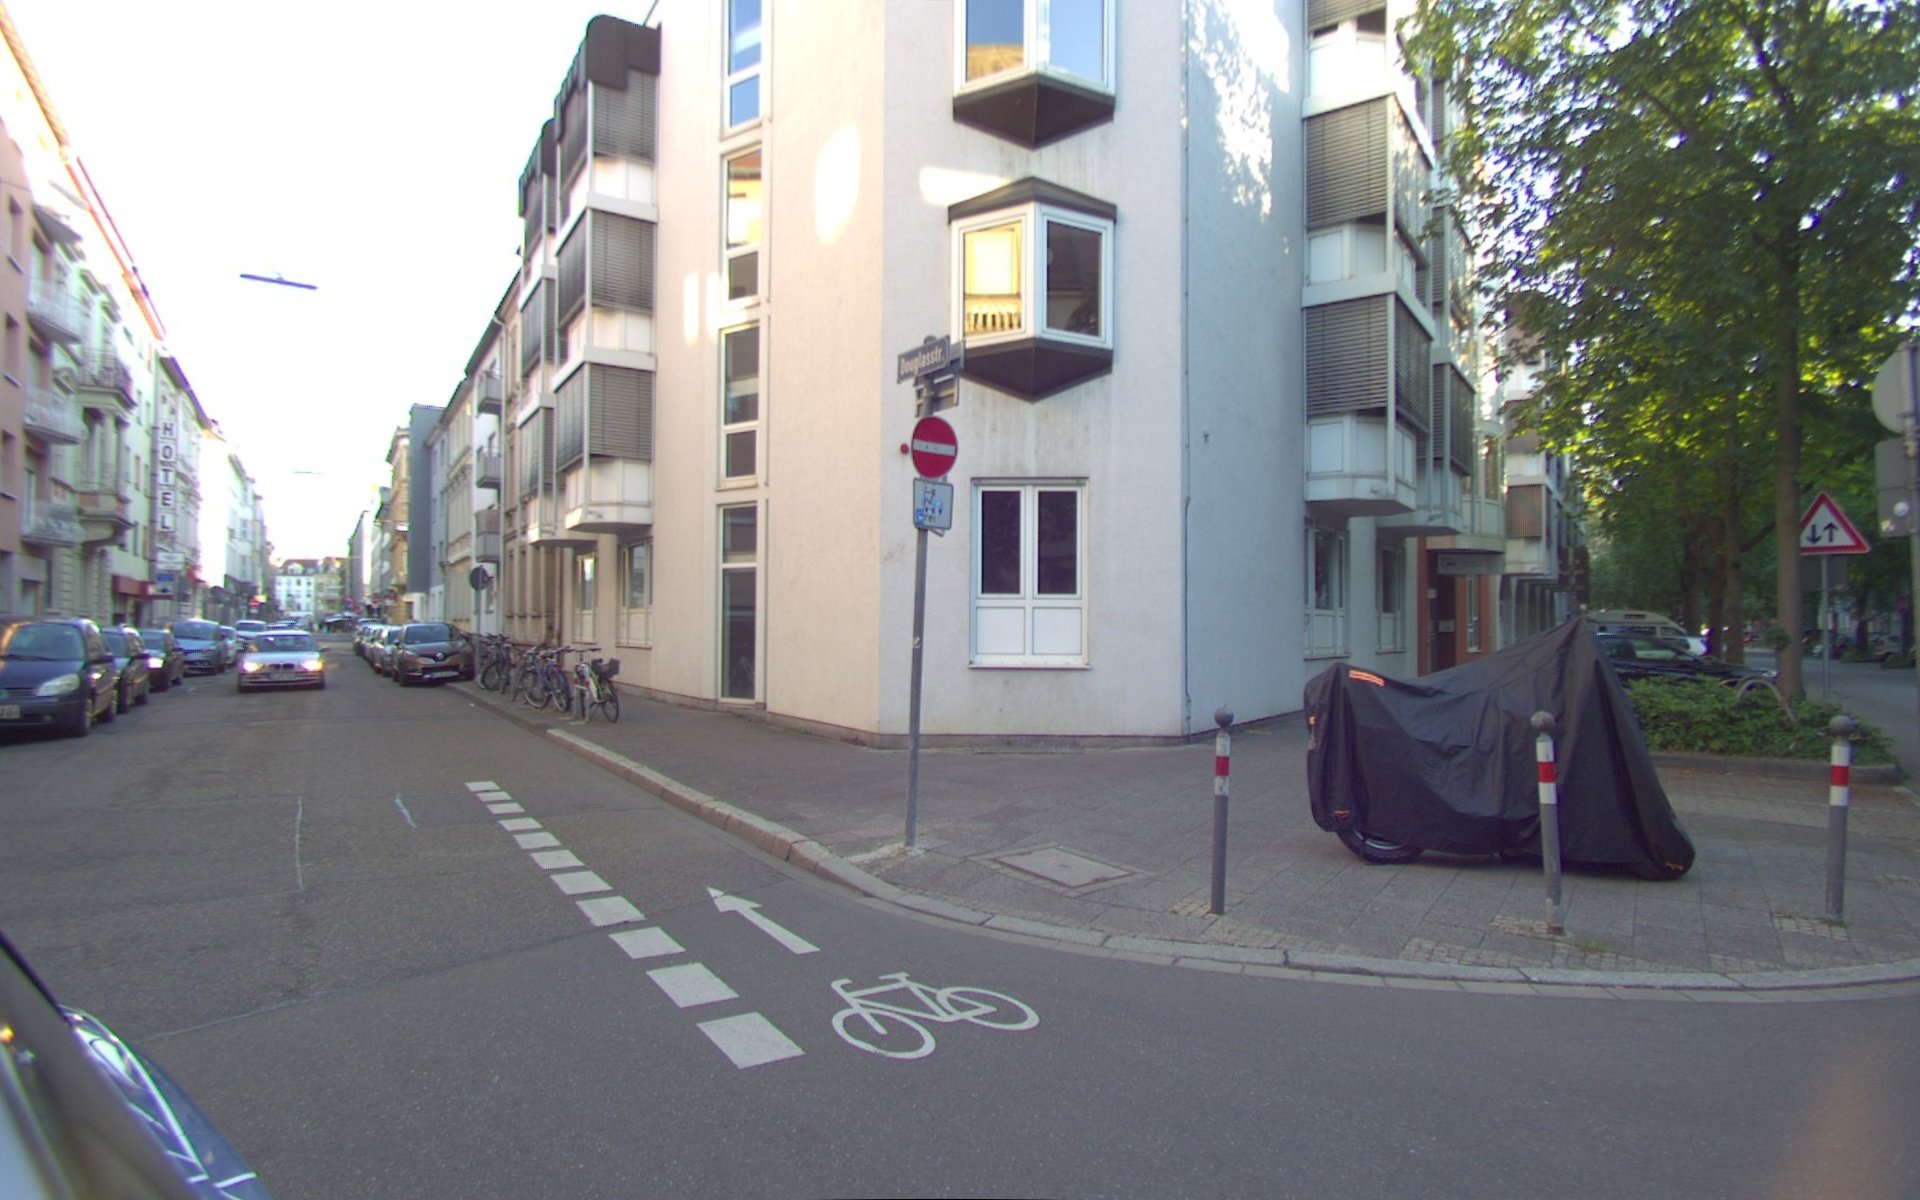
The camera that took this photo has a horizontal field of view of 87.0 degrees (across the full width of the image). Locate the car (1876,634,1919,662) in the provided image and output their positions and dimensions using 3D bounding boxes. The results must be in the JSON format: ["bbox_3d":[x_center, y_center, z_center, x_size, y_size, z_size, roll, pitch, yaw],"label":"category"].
[{"bbox_3d":[49.540,2.452,51.824,3.659,1.403,1.548,-1,-2,34],"label":"car"}]

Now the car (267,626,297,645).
[{"bbox_3d":[-52.155,2.719,77.916,1.701,1.409,3.903,0,-2,-31],"label":"car"}]

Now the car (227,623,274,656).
[{"bbox_3d":[-40.964,2.287,58.540,1.812,1.708,4.371,6,-5,-31],"label":"car"}]

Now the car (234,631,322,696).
[{"bbox_3d":[-16.716,1.486,24.959,1.654,1.414,4.484,-1,-1,-32],"label":"car"}]

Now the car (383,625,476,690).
[{"bbox_3d":[-14.258,1.478,27.101,1.766,1.588,4.081,1,-2,-34],"label":"car"}]

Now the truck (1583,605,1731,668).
[{"bbox_3d":[29.072,1.474,42.323,5.007,2.459,1.892,0,0,37],"label":"truck"}]

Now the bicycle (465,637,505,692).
[{"bbox_3d":[-10.960,1.454,23.329,0.587,1.196,2.272,0,-2,-32],"label":"bicycle"}]

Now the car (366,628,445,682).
[{"bbox_3d":[-17.559,1.680,31.971,1.766,1.551,4.445,1,-2,-34],"label":"car"}]

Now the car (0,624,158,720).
[{"bbox_3d":[-15.864,1.208,18.329,1.666,1.525,4.295,0,-2,-33],"label":"car"}]

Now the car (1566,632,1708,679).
[{"bbox_3d":[23.957,1.933,35.914,4.137,1.483,1.620,0,-1,36],"label":"car"}]

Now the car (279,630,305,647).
[{"bbox_3d":[-56.322,3.215,85.396,1.701,1.409,3.903,0,-2,-31],"label":"car"}]

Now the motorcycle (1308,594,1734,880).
[{"bbox_3d":[3.289,0.765,6.177,2.142,1.567,0.666,0,-2,16],"label":"motorcycle"}]

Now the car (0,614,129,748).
[{"bbox_3d":[-12.943,1.043,13.999,1.666,1.637,4.066,0,-2,-31],"label":"car"}]

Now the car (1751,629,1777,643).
[{"bbox_3d":[89.583,3.998,112.837,1.995,1.564,3.953,-1,-2,35],"label":"car"}]

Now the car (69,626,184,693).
[{"bbox_3d":[-20.138,1.391,24.608,1.666,1.469,4.143,0,-2,-33],"label":"car"}]

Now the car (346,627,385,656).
[{"bbox_3d":[-33.369,2.303,56.738,1.616,1.592,3.793,1,-2,-34],"label":"car"}]

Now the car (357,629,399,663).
[{"bbox_3d":[-26.972,2.091,46.833,1.615,1.500,3.965,0,-2,-31],"label":"car"}]

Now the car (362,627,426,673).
[{"bbox_3d":[-20.486,1.767,36.554,1.766,1.551,4.506,0,-2,-33],"label":"car"}]

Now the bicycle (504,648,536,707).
[{"bbox_3d":[-8.363,1.447,19.210,0.302,1.050,1.818,0,-2,-32],"label":"bicycle"}]

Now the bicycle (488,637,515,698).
[{"bbox_3d":[-9.758,1.408,21.520,0.302,1.232,1.818,0,-2,-32],"label":"bicycle"}]

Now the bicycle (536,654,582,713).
[{"bbox_3d":[-6.870,1.402,17.310,0.303,0.939,1.817,1,-2,-36],"label":"bicycle"}]

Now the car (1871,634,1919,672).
[{"bbox_3d":[40.762,2.191,42.321,3.658,1.548,1.548,-3,-3,34],"label":"car"}]

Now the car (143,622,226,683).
[{"bbox_3d":[-23.843,1.562,31.220,1.666,1.754,4.120,0,-2,-33],"label":"car"}]

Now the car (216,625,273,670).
[{"bbox_3d":[-26.843,1.763,38.038,1.548,1.591,3.599,0,-2,-33],"label":"car"}]

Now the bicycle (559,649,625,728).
[{"bbox_3d":[-5.621,1.318,15.412,0.395,1.111,1.816,0,-2,-38],"label":"bicycle"}]

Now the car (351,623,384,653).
[{"bbox_3d":[-36.595,2.332,62.437,1.615,1.810,3.794,0,-2,-32],"label":"car"}]

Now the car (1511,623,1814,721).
[{"bbox_3d":[12.655,1.227,18.495,4.361,1.520,1.813,0,-1,36],"label":"car"}]

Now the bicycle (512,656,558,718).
[{"bbox_3d":[-7.207,1.450,17.128,0.303,0.939,1.817,0,-1,-36],"label":"bicycle"}]

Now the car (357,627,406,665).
[{"bbox_3d":[-24.259,1.904,42.381,1.616,1.500,3.799,0,-2,-33],"label":"car"}]

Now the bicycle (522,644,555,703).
[{"bbox_3d":[-8.081,1.390,19.372,0.302,1.050,1.818,0,-2,-32],"label":"bicycle"}]

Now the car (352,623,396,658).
[{"bbox_3d":[-29.988,2.053,51.753,1.616,1.724,3.793,1,-2,-34],"label":"car"}]
